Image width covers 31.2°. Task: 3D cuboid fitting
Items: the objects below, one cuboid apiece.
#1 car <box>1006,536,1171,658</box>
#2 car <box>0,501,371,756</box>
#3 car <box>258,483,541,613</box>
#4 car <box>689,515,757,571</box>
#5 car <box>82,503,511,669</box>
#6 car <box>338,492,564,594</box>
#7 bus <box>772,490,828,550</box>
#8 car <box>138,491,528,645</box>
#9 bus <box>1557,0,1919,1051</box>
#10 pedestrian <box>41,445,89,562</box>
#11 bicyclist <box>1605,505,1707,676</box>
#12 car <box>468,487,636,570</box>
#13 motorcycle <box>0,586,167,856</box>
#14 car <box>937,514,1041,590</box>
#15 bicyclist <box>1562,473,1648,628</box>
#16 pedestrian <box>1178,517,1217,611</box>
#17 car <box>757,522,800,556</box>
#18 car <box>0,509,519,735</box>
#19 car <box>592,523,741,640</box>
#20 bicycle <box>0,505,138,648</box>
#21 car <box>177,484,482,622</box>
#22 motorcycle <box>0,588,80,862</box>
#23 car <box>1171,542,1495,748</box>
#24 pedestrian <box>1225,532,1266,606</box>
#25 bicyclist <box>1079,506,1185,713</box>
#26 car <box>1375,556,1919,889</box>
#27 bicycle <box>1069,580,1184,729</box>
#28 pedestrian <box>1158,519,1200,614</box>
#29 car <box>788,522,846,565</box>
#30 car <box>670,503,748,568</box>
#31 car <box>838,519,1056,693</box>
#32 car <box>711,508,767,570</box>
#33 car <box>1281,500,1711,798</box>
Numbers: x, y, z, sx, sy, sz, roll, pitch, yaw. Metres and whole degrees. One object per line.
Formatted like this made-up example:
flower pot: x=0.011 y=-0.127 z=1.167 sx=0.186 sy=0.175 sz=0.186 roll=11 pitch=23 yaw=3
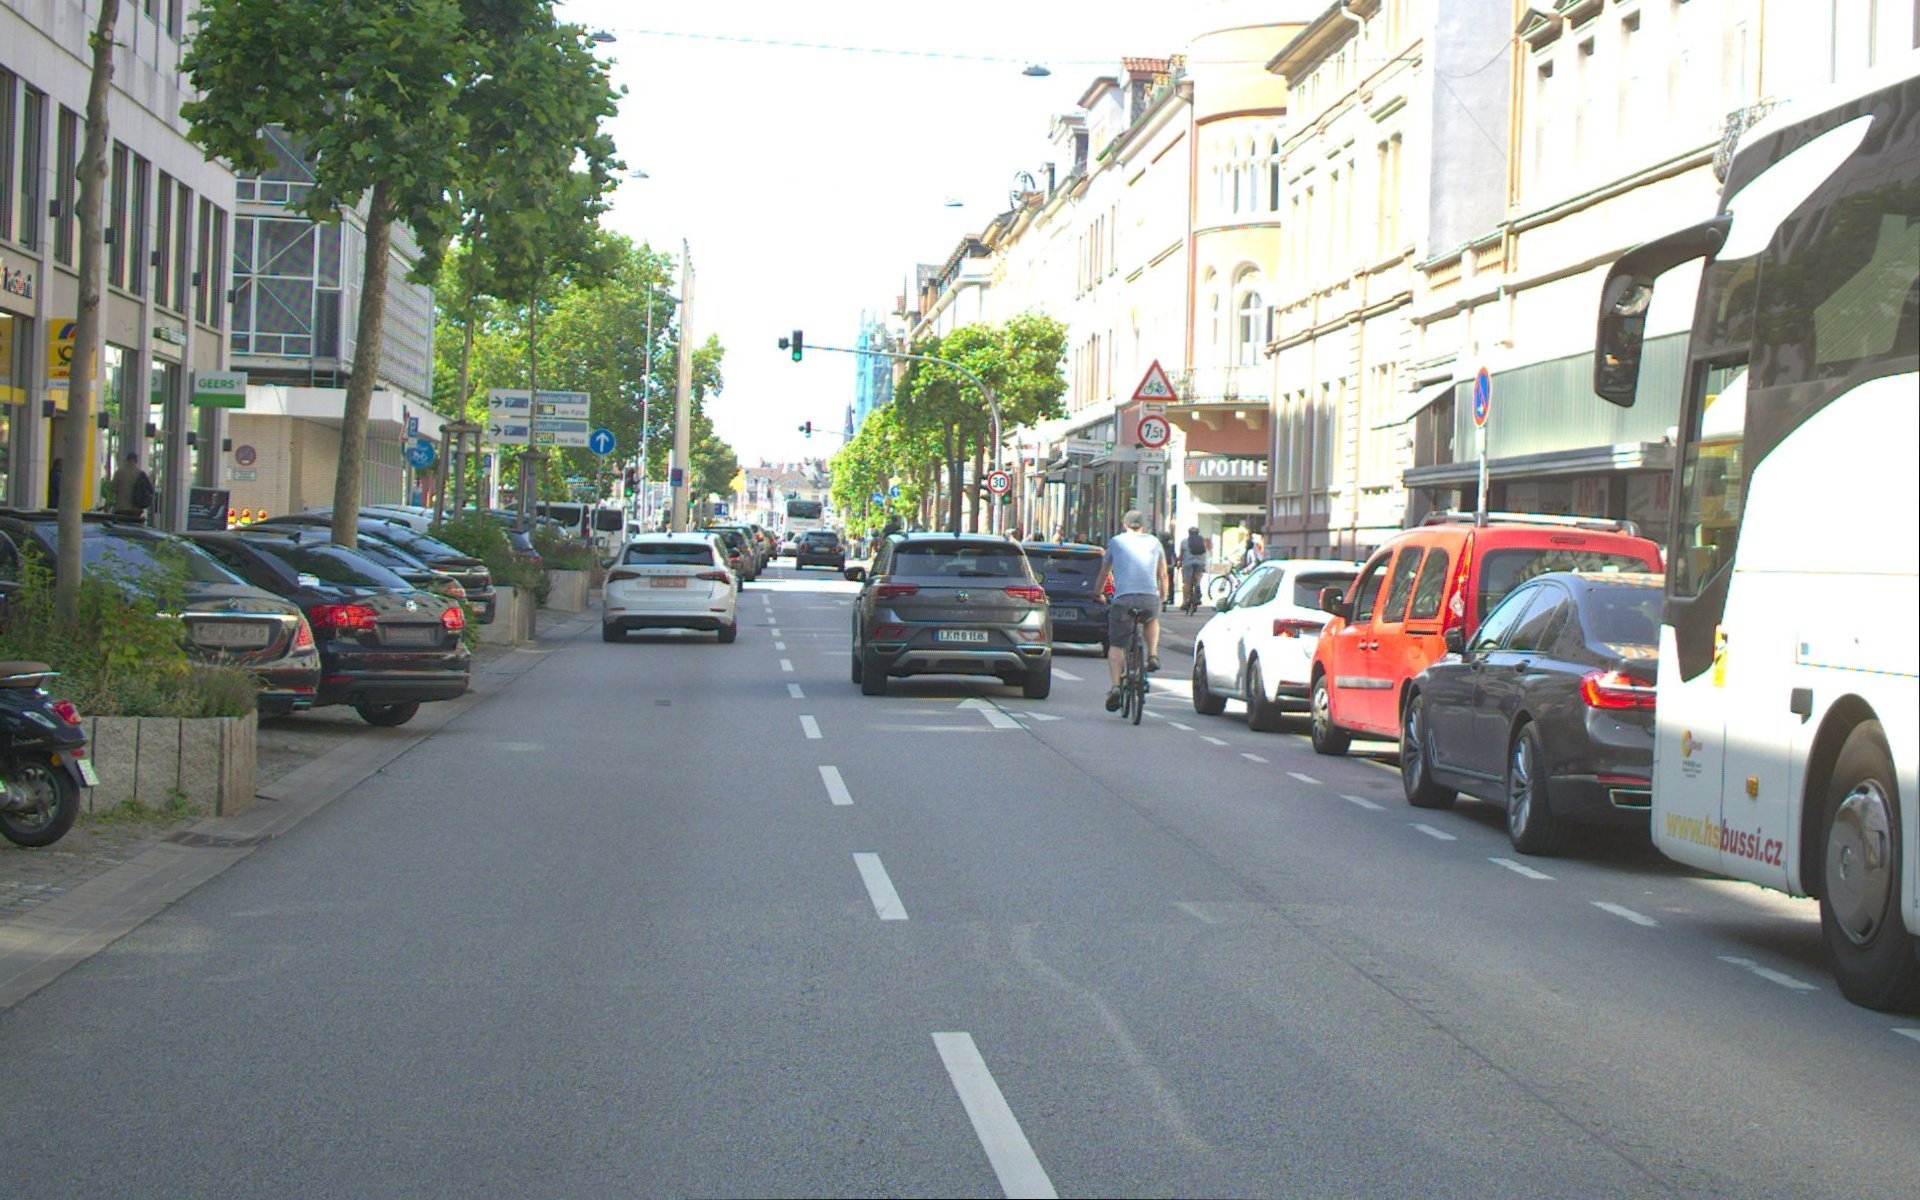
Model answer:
car: x=1.704 y=-0.070 z=46.578 sx=1.822 sy=1.404 sz=3.187 roll=4 pitch=2 yaw=-4
car: x=-6.465 y=0.106 z=23.852 sx=4.753 sy=1.528 sz=1.986 roll=4 pitch=2 yaw=39
car: x=-8.879 y=-0.821 z=54.476 sx=3.992 sy=1.563 sz=1.698 roll=7 pitch=1 yaw=22
car: x=-6.391 y=-1.558 z=92.641 sx=1.743 sy=1.436 sz=4.001 roll=2 pitch=1 yaw=-4
car: x=-7.078 y=-0.166 z=36.429 sx=4.647 sy=1.403 sz=1.902 roll=5 pitch=2 yaw=40
car: x=-9.562 y=-1.076 z=64.774 sx=3.986 sy=1.495 sz=1.718 roll=6 pitch=1 yaw=-5
bus: x=-9.979 y=-4.972 z=214.238 sx=2.769 sy=3.592 sz=8.976 roll=2 pitch=1 yaw=-7
car: x=-7.606 y=-0.396 z=41.656 sx=4.348 sy=1.508 sz=1.830 roll=5 pitch=1 yaw=27
bus: x=4.657 y=-0.339 z=8.888 sx=2.881 sy=3.729 sz=12.429 roll=4 pitch=1 yaw=-5
pedestrian: x=-15.491 y=-1.666 z=59.499 sx=0.624 sy=2.007 sz=0.701 roll=1 pitch=1 yaw=-3
bicyclist: x=6.123 y=-0.092 z=30.282 sx=0.625 sy=1.471 sz=0.889 roll=2 pitch=1 yaw=-3
car: x=-12.070 y=-2.118 z=101.560 sx=4.719 sy=1.996 sz=1.937 roll=6 pitch=1 yaw=37
motorcycle: x=-4.774 y=0.517 z=16.087 sx=1.912 sy=1.166 sz=0.759 roll=3 pitch=1 yaw=17
car: x=0.549 y=-0.986 z=68.844 sx=1.822 sy=1.380 sz=4.001 roll=2 pitch=2 yaw=-3
bicyclist: x=6.748 y=-0.519 z=35.992 sx=0.658 sy=1.589 sz=0.920 roll=2 pitch=1 yaw=-2
pedestrian: x=4.638 y=-0.698 z=67.161 sx=0.652 sy=1.803 sz=0.729 roll=2 pitch=1 yaw=0
car: x=-8.365 y=-2.795 z=158.026 sx=1.862 sy=1.436 sz=4.000 roll=1 pitch=-1 yaw=-4
car: x=-5.868 y=0.119 z=26.846 sx=4.792 sy=1.417 sz=1.879 roll=5 pitch=2 yaw=37
car: x=-3.985 y=-0.284 z=46.663 sx=1.862 sy=1.436 sz=4.001 roll=2 pitch=1 yaw=-5
bicycle: x=-9.030 y=-0.256 z=33.114 sx=2.064 sy=1.284 sz=0.368 roll=4 pitch=0 yaw=-11
car: x=-8.767 y=-0.662 z=48.080 sx=3.986 sy=1.495 sz=1.718 roll=6 pitch=1 yaw=-7
motorcycle: x=-4.989 y=0.504 z=15.368 sx=1.912 sy=1.166 sz=0.728 roll=3 pitch=1 yaw=17
car: x=3.177 y=0.330 z=30.235 sx=1.812 sy=1.461 sz=4.582 roll=3 pitch=2 yaw=-6
pedestrian: x=6.756 y=-0.736 z=81.434 sx=0.791 sy=1.714 sz=0.730 roll=1 pitch=1 yaw=-8
bicyclist: x=1.446 y=0.069 z=29.107 sx=0.694 sy=1.667 sz=0.916 roll=4 pitch=2 yaw=-2
car: x=3.732 y=0.565 z=19.253 sx=1.859 sy=1.465 sz=5.226 roll=4 pitch=1 yaw=-3
bicycle: x=1.388 y=0.439 z=29.095 sx=0.664 sy=1.116 sz=2.244 roll=4 pitch=2 yaw=-3
pedestrian: x=4.470 y=-0.691 z=70.261 sx=0.709 sy=1.893 sz=1.152 roll=2 pitch=1 yaw=0
car: x=-4.993 y=-1.989 z=119.928 sx=1.862 sy=1.436 sz=4.001 roll=2 pitch=1 yaw=-4
car: x=-5.919 y=-1.534 z=81.059 sx=1.743 sy=1.436 sz=4.001 roll=2 pitch=1 yaw=-4
car: x=-0.186 y=0.024 z=33.298 sx=1.833 sy=1.522 sz=4.001 roll=2 pitch=1 yaw=-4
car: x=-7.888 y=-2.153 z=122.346 sx=1.862 sy=2.023 sz=4.000 roll=2 pitch=0 yaw=-4
car: x=3.737 y=0.265 z=24.797 sx=1.827 sy=1.857 sz=4.355 roll=3 pitch=1 yaw=-7
